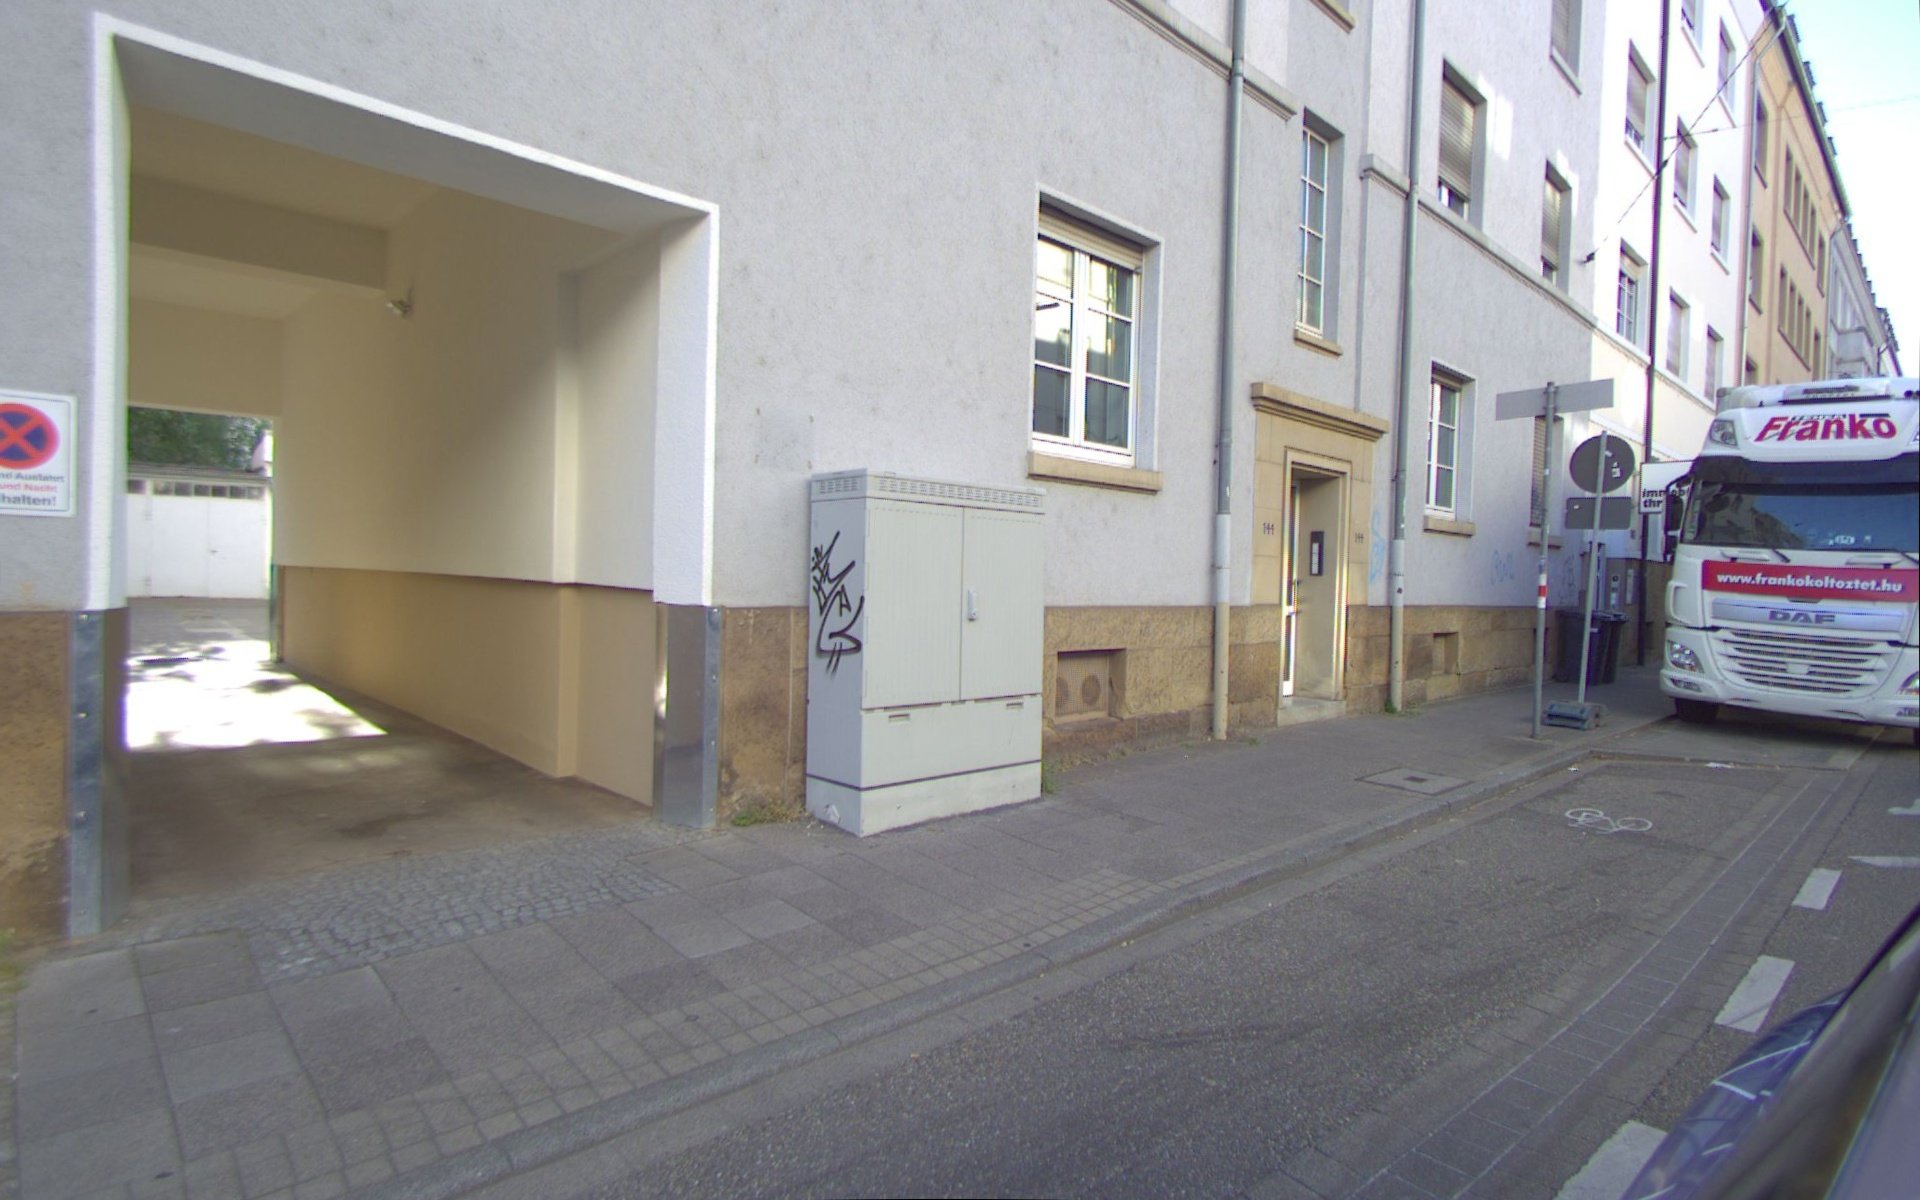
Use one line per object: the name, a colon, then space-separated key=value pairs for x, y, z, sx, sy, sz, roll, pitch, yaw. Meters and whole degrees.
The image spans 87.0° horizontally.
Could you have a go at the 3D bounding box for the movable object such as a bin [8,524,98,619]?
movable object such as a bin: x=-15.139 y=-0.461 z=16.926 sx=1.091 sy=1.512 sz=1.328 roll=0 pitch=0 yaw=-41

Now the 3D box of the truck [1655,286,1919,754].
truck: x=12.602 y=-0.860 z=13.725 sx=11.579 sy=4.290 sz=2.697 roll=-1 pitch=3 yaw=-43
